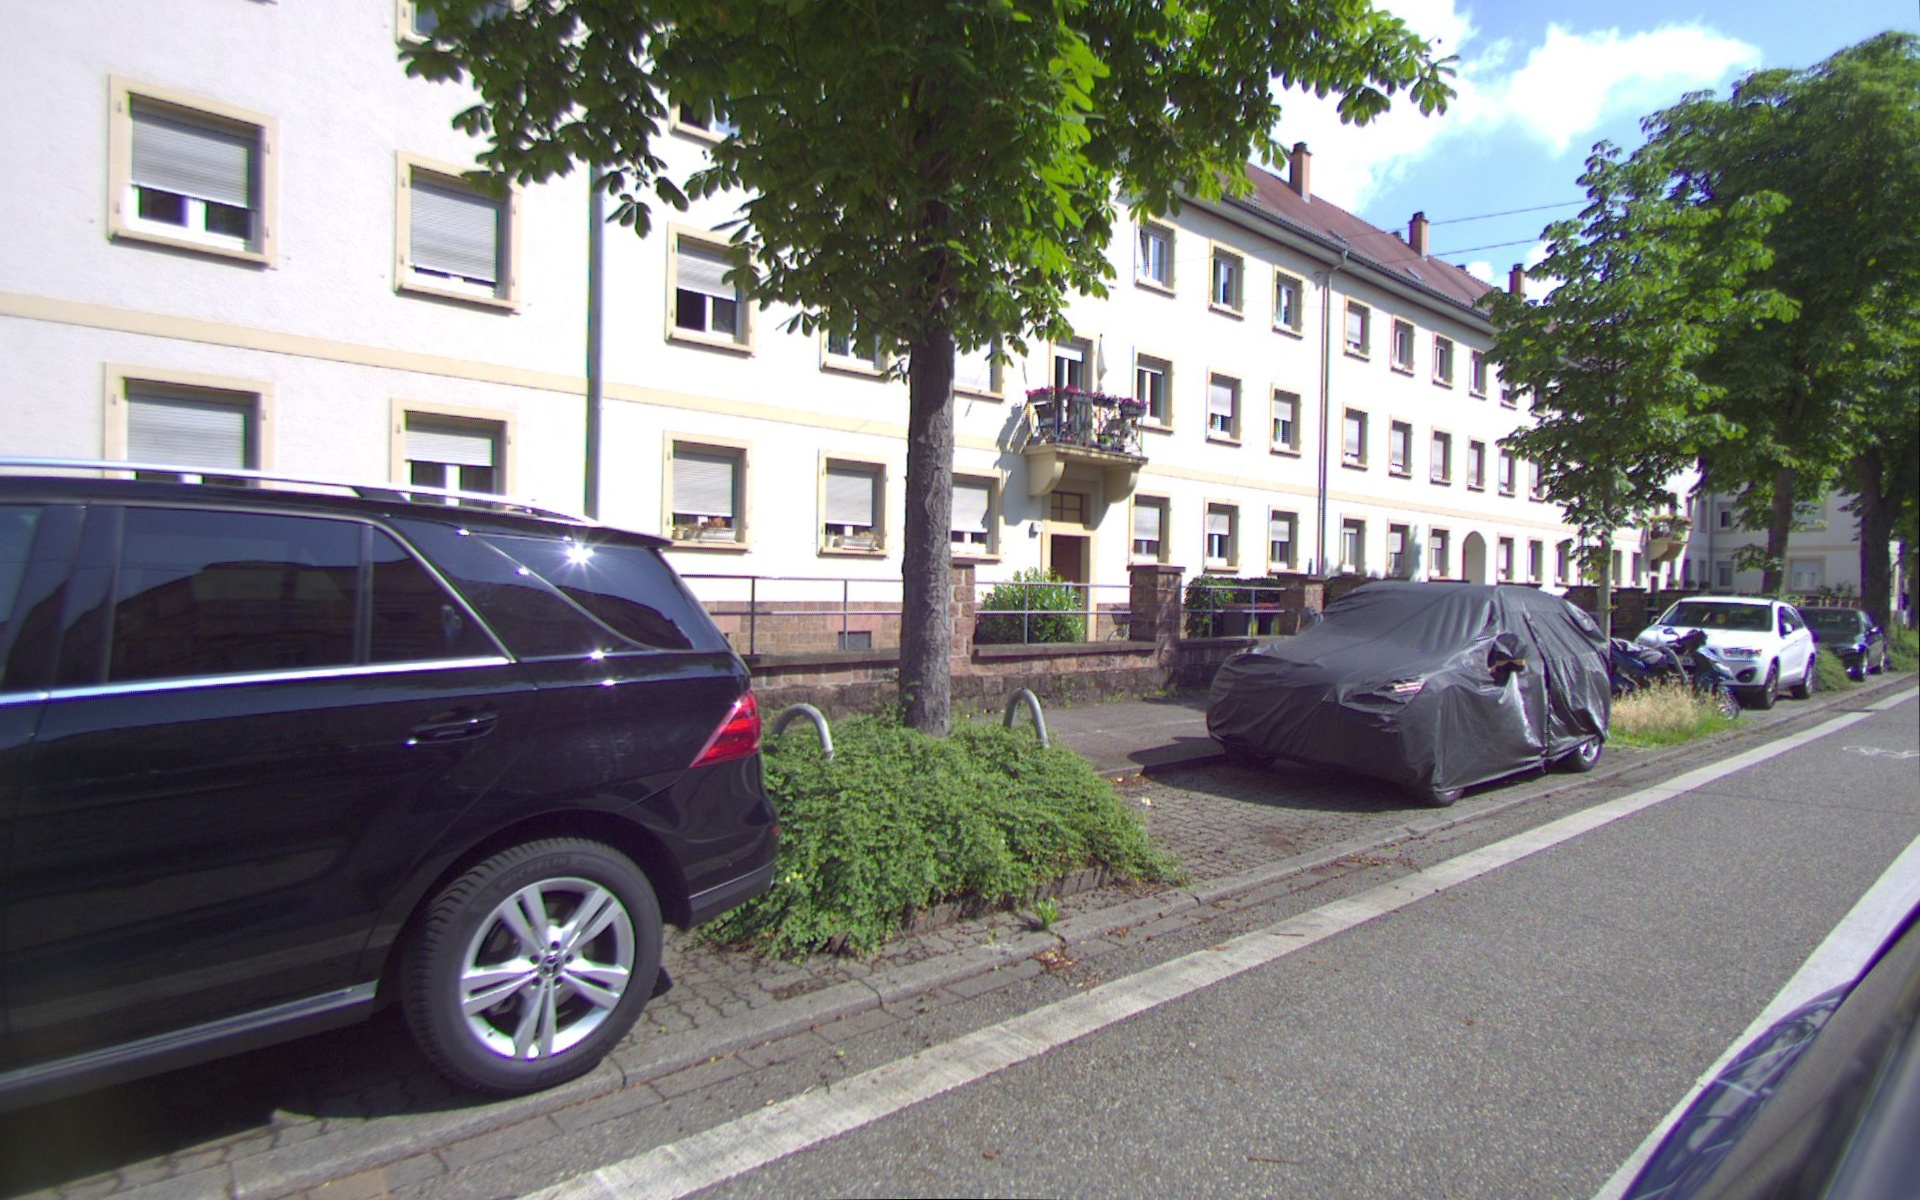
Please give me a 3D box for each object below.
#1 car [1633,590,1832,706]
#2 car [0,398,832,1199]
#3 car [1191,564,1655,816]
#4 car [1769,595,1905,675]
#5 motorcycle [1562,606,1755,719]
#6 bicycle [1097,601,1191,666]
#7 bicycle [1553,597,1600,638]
[{"bbox_3d":[12.381,0.662,16.121,4.175,1.601,1.745,0,1,-41],"label":"car"},{"bbox_3d":[-2.791,0.465,2.569,4.650,1.805,1.830,0,1,-41],"label":"car"},{"bbox_3d":[4.222,0.578,8.879,4.554,1.674,1.867,0,1,-39],"label":"car"},{"bbox_3d":[18.864,0.669,21.701,4.213,1.540,1.663,0,1,-41],"label":"car"},{"bbox_3d":[9.301,0.780,13.544,0.735,1.354,2.008,0,1,-44],"label":"motorcycle"},{"bbox_3d":[2.946,0.507,16.139,1.649,0.976,0.538,0,1,-40],"label":"bicycle"},{"bbox_3d":[17.771,0.492,29.141,1.769,1.149,0.626,0,1,-41],"label":"bicycle"}]
